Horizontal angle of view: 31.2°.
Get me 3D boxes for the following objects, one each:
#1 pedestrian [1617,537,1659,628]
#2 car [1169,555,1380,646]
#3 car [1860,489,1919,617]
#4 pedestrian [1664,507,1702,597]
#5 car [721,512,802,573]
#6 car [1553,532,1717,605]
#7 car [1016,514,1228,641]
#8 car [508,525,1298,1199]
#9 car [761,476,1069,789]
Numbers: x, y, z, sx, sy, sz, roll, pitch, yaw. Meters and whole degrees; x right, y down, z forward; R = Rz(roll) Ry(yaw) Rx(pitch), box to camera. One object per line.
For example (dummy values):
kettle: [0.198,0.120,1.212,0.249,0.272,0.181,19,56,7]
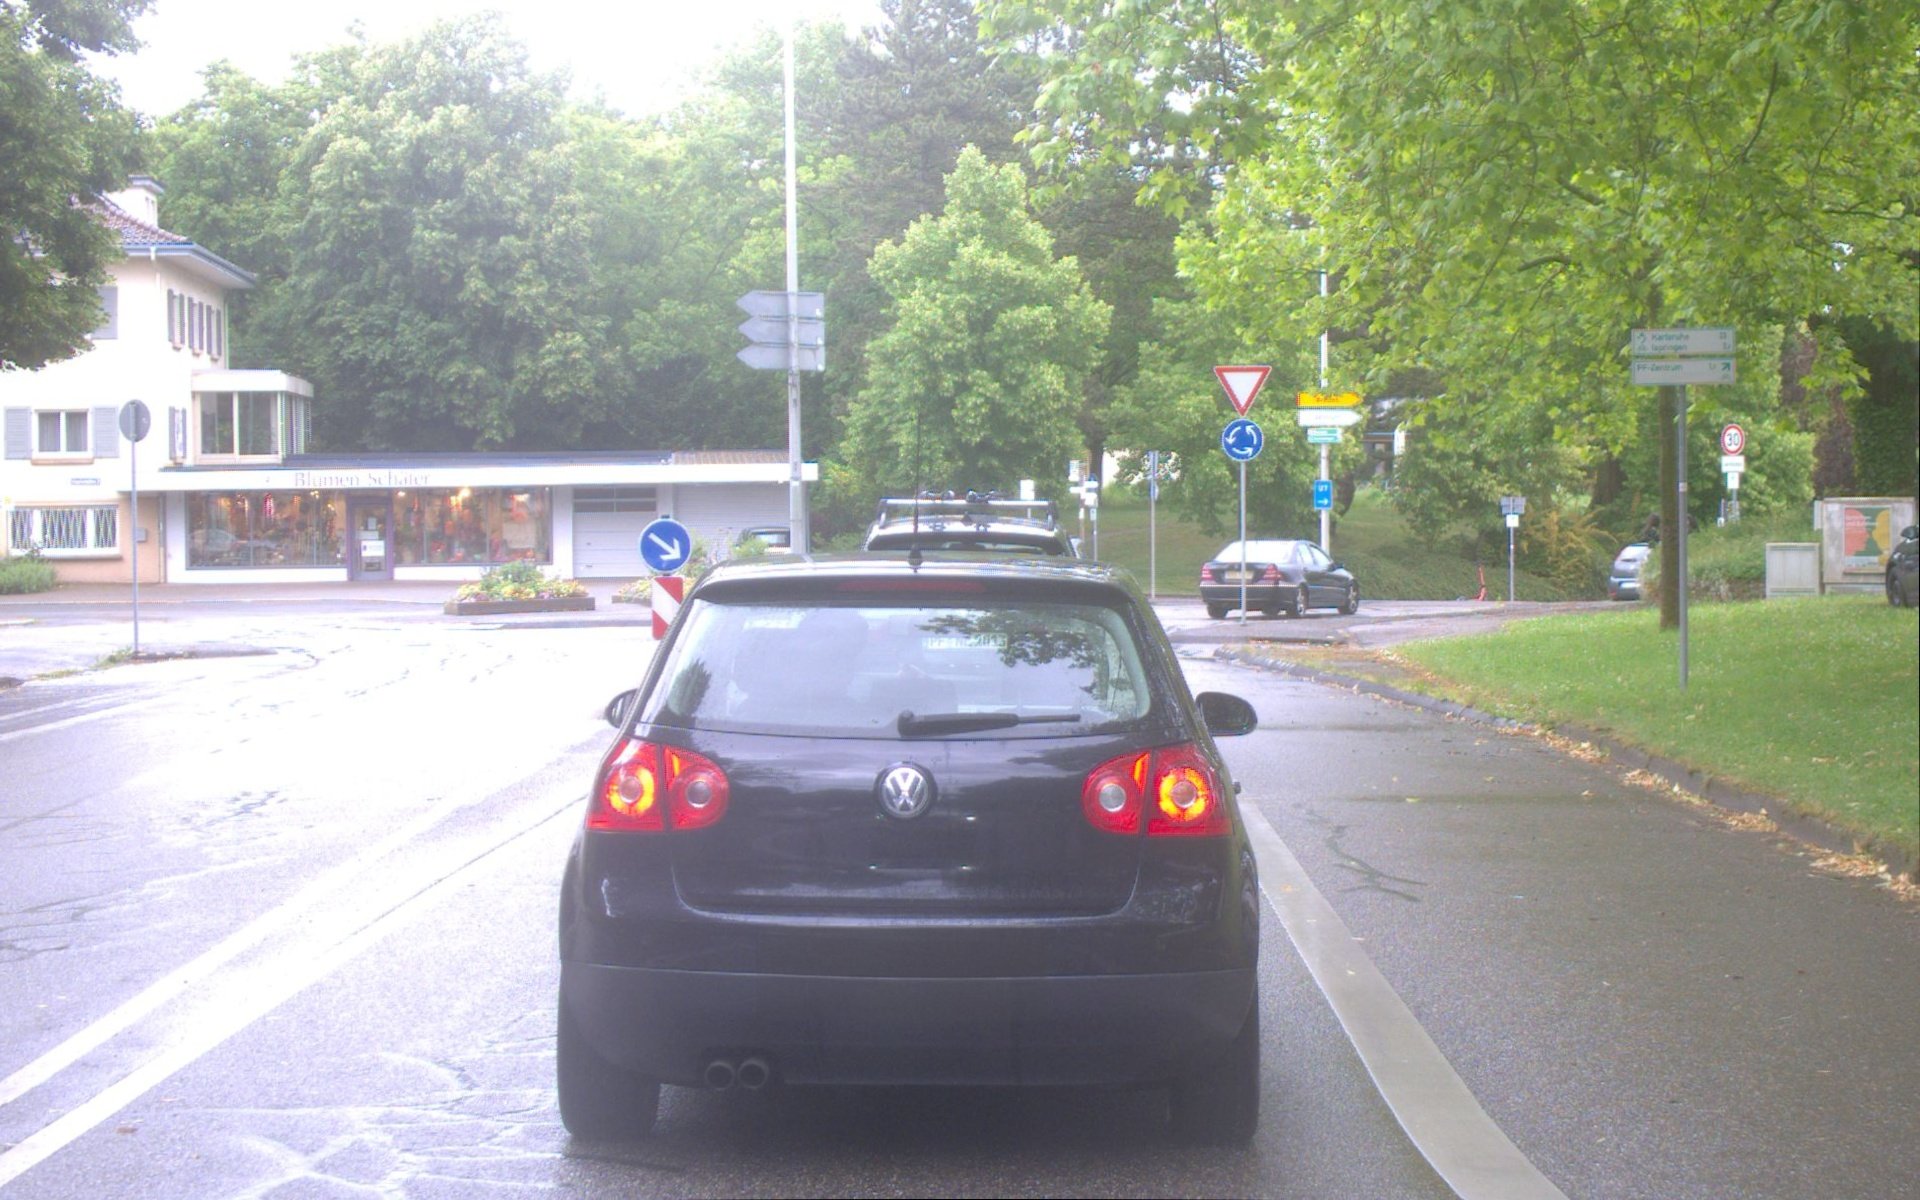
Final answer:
pedestrian: [12.838,-0.332,65.082,0.528,1.707,0.636,1,0,-14]
car: [5.601,0.005,60.865,1.997,1.525,3.992,1,1,35]
car: [11.844,-0.570,39.325,1.764,1.466,4.598,-2,1,-1]
pedestrian: [13.845,-0.918,65.822,0.634,1.707,0.529,1,0,17]
car: [-5.102,-1.485,87.831,1.812,1.481,3.832,-2,1,-7]
car: [14.558,-0.667,74.018,1.997,1.525,3.992,1,1,35]
car: [2.397,-0.331,49.766,1.995,1.735,4.140,1,1,18]
car: [-0.164,0.589,9.798,1.764,1.533,4.000,1,1,-1]
car: [-0.302,0.166,22.335,1.764,1.795,4.246,-1,1,-1]
